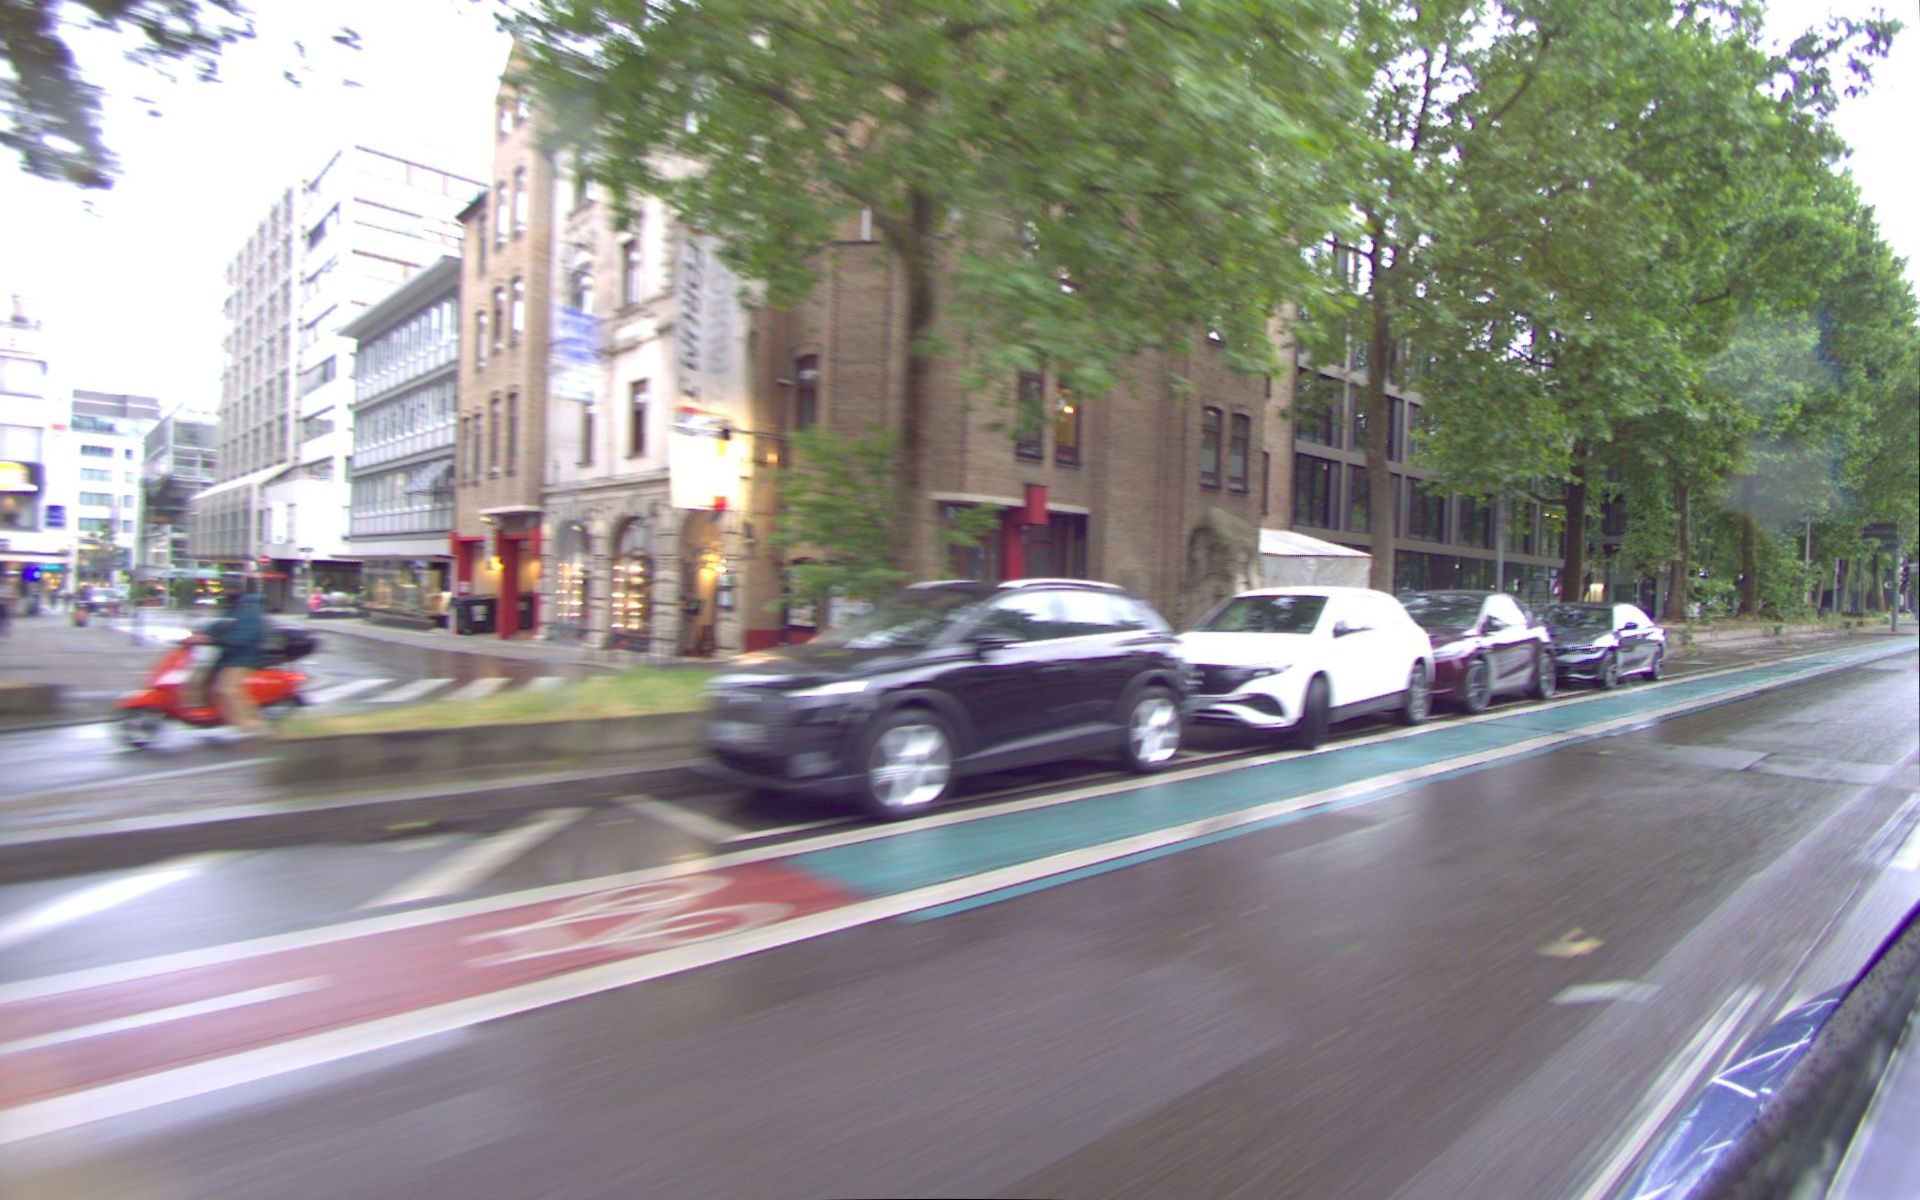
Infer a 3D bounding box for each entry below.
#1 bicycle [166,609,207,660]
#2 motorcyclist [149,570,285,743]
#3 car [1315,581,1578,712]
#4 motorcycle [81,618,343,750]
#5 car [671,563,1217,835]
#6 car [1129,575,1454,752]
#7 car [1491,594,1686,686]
[{"bbox_3d":[-15.589,0.671,20.428,0.613,0.949,1.972,0,0,-37],"label":"bicycle"},{"bbox_3d":[-7.599,0.536,10.360,0.842,1.665,0.862,0,0,31],"label":"motorcyclist"},{"bbox_3d":[7.164,0.553,14.676,4.484,1.609,1.995,0,0,-43],"label":"car"},{"bbox_3d":[-7.590,0.789,10.382,0.862,1.157,1.999,0,0,31],"label":"motorcycle"},{"bbox_3d":[0.085,0.584,8.185,4.349,1.623,1.795,0,0,-43],"label":"car"},{"bbox_3d":[3.878,0.574,11.371,1.752,1.605,4.339,0,0,44],"label":"car"},{"bbox_3d":[11.389,0.619,18.209,4.506,1.451,1.745,0,0,-41],"label":"car"}]
